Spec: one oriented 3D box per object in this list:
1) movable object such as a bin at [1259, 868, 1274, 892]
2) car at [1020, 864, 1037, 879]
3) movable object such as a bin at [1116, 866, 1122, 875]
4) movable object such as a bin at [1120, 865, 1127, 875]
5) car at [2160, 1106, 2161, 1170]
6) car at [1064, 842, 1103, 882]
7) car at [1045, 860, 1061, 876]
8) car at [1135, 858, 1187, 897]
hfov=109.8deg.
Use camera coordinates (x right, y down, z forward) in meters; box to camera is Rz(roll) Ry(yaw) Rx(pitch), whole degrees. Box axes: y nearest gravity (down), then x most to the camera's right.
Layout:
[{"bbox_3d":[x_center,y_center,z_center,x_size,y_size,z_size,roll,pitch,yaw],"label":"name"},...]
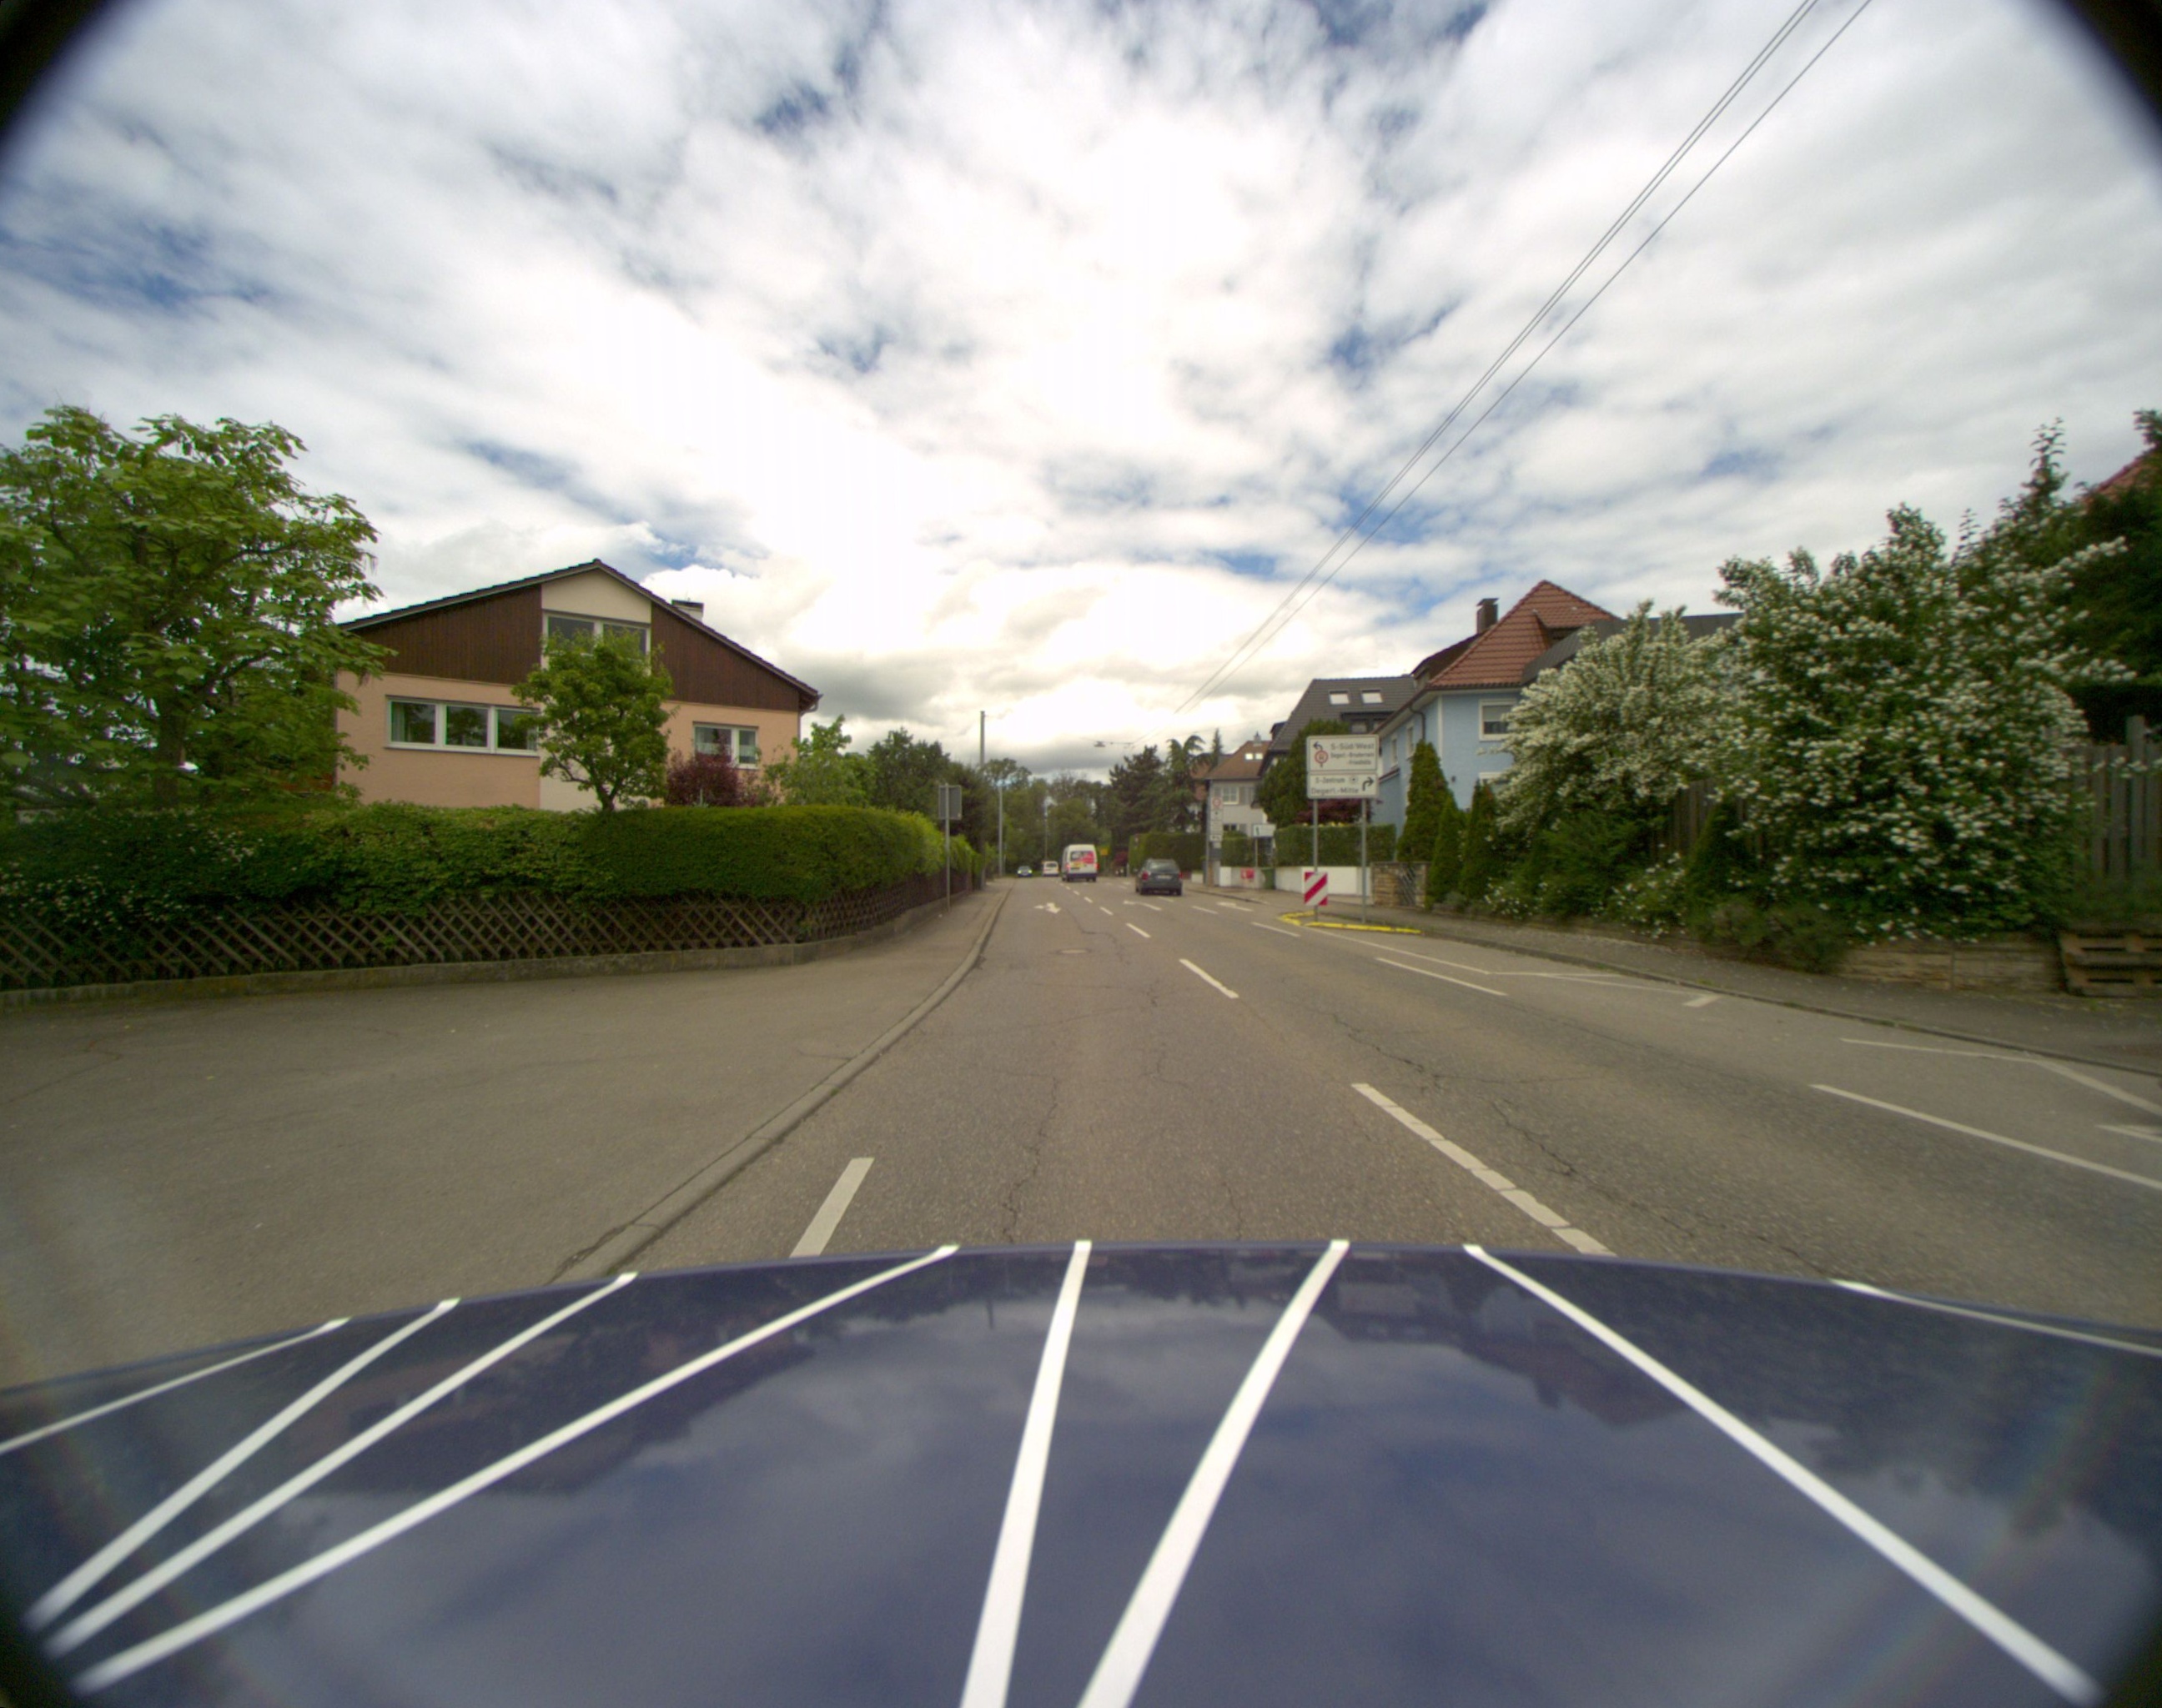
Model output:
[{"bbox_3d":[7.745,1.072,31.734,0.509,0.967,0.540,0,0,-1],"label":"movable object such as a bin"},{"bbox_3d":[-6.922,2.292,99.282,1.864,1.855,4.609,0,-2,-8],"label":"car"},{"bbox_3d":[4.136,1.811,82.567,0.464,0.936,0.648,-1,-1,24],"label":"movable object such as a bin"},{"bbox_3d":[4.582,1.731,82.343,0.479,1.028,0.717,-1,-1,24],"label":"movable object such as a bin"},{"bbox_3d":[6.678,0.916,1.800,1.815,1.447,4.411,2,-1,-5],"label":"car"},{"bbox_3d":[0.103,0.530,50.516,2.118,2.483,6.122,0,0,-4],"label":"car"},{"bbox_3d":[-3.632,1.795,97.502,1.864,2.035,5.170,0,-2,-5],"label":"car"},{"bbox_3d":[3.295,0.942,31.981,1.738,1.544,4.447,0,0,0],"label":"car"}]
